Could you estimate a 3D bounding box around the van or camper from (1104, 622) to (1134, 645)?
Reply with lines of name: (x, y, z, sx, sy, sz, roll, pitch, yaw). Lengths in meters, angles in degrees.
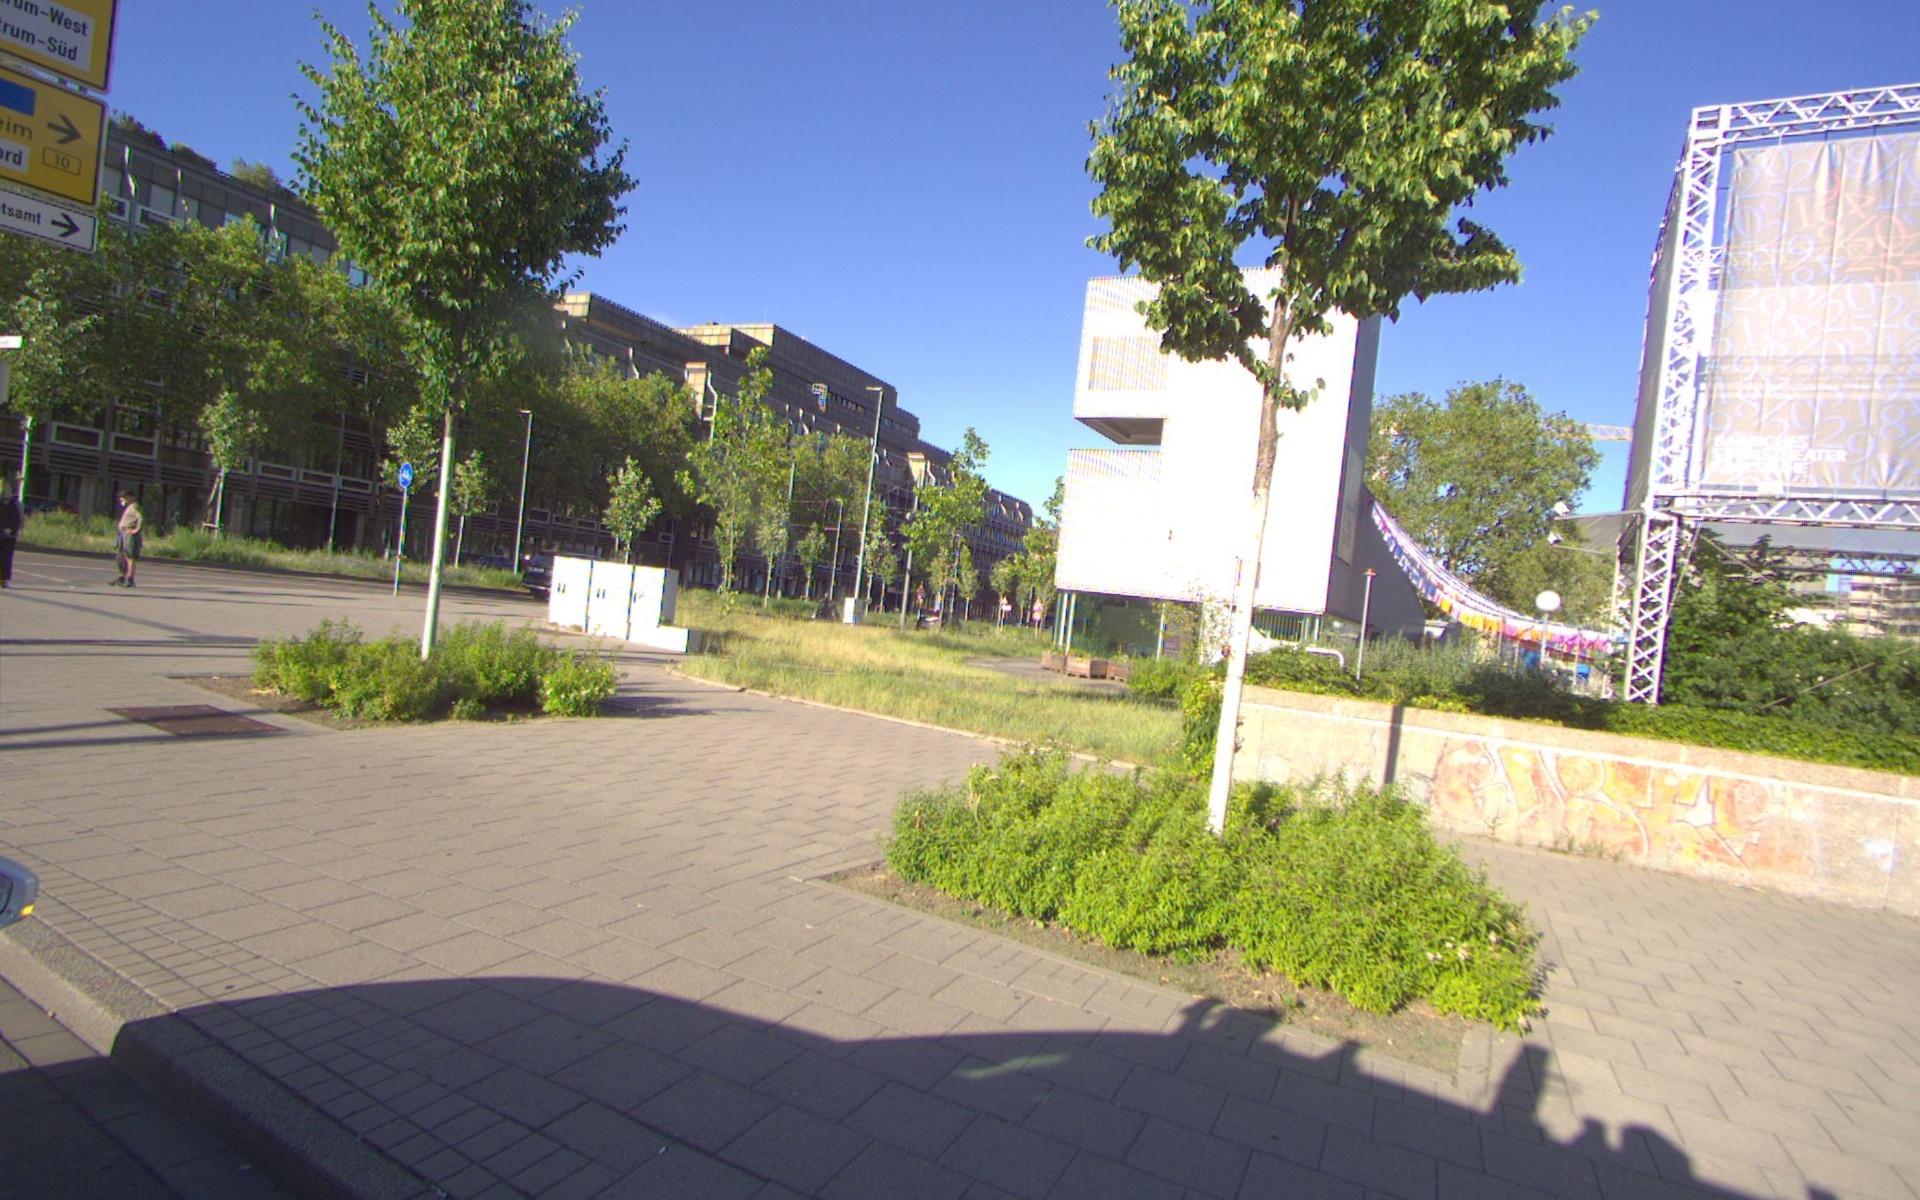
van or camper: (16.080, 3.396, 101.511, 1.969, 2.038, 4.844, 7, -1, 19)

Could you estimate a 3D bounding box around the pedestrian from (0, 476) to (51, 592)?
pedestrian: (-14.197, -0.999, 14.898, 0.859, 1.634, 0.767, 7, 1, 30)

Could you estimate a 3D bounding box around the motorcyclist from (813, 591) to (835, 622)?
motorcyclist: (-6.793, 0.307, 50.267, 0.636, 1.441, 0.658, 8, 1, 24)

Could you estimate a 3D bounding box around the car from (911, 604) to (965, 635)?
car: (-1.337, 1.221, 62.068, 1.642, 1.528, 3.871, 7, -1, 25)

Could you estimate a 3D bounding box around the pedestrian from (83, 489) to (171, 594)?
pedestrian: (-14.885, -1.032, 17.991, 0.755, 1.728, 0.873, 7, 1, 30)

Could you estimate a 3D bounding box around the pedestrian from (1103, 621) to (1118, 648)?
pedestrian: (9.152, 2.117, 61.184, 0.520, 1.571, 0.638, 7, -1, 31)

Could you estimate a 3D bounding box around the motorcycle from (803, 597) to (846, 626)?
motorcycle: (-6.759, 0.609, 50.422, 0.716, 1.223, 2.602, 8, 0, 24)

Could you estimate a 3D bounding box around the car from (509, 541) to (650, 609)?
car: (-13.530, -0.824, 36.137, 1.851, 1.886, 4.832, 7, -1, 21)

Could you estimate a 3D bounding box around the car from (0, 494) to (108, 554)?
car: (-33.232, -2.783, 35.560, 1.792, 1.704, 4.302, 7, -1, 21)
